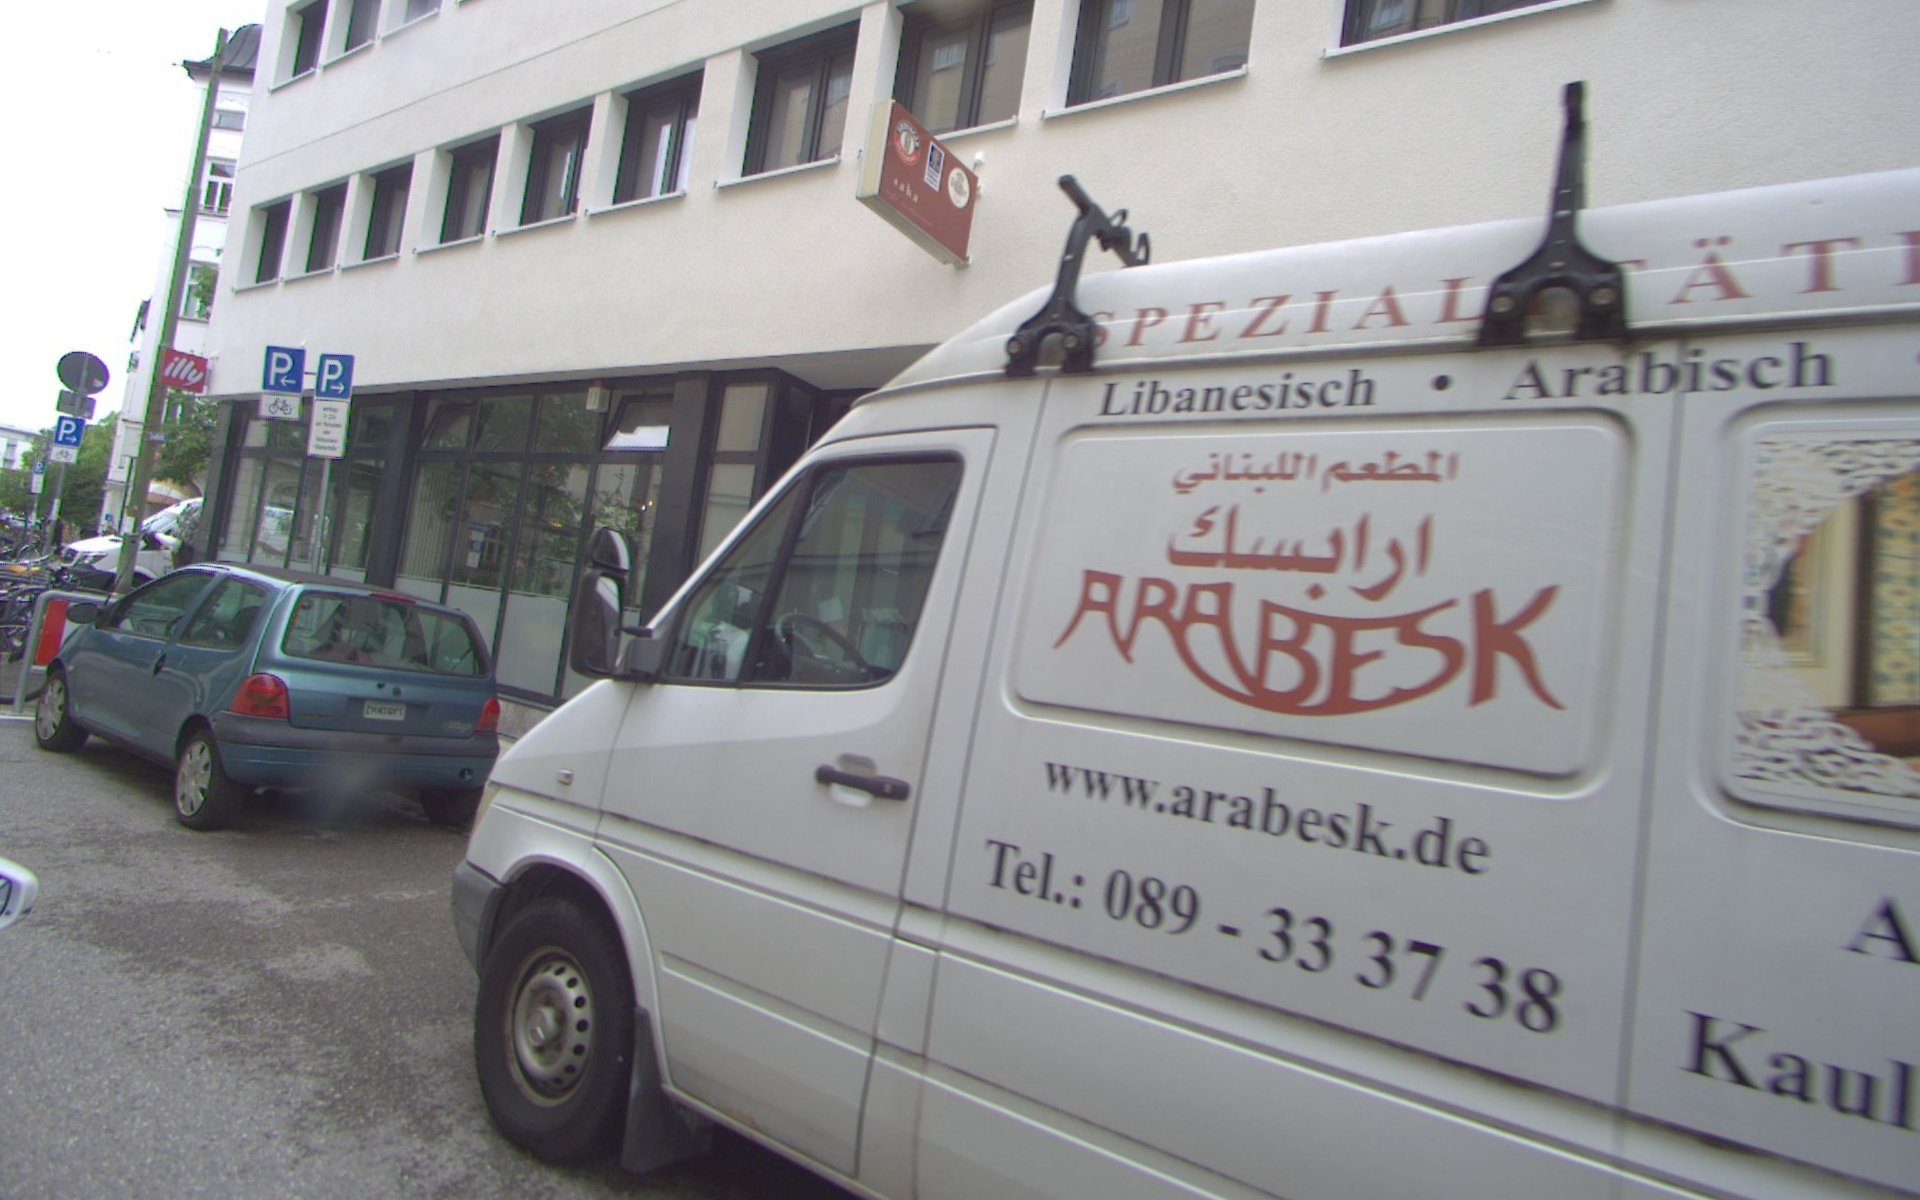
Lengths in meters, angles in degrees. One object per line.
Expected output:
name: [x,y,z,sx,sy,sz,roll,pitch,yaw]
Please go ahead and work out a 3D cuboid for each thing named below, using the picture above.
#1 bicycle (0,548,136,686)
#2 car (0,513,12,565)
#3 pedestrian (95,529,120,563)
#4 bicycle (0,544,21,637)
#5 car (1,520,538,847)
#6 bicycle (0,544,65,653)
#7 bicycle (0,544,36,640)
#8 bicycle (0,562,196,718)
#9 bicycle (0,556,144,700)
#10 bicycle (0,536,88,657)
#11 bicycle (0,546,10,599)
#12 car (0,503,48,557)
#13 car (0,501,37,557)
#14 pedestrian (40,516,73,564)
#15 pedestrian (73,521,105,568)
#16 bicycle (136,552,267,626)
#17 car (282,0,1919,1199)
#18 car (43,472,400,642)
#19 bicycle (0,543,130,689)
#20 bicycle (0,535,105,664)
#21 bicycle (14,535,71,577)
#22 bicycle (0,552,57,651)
bicycle: [-9.212,0.102,9.578,0.556,1.168,1.881,8,-5,33]
car: [-30.600,-2.029,30.840,1.818,1.651,4.240,15,-7,-41]
pedestrian: [-50.285,-3.200,59.358,0.774,1.870,0.852,10,-3,-34]
bicycle: [-12.250,-0.247,11.633,0.401,1.091,1.880,8,-4,31]
car: [-4.659,0.450,6.679,3.494,1.479,1.584,7,-4,34]
bicycle: [-10.784,-0.114,10.577,0.432,1.106,1.880,8,-4,31]
bicycle: [-11.876,-0.214,11.416,0.395,1.091,1.880,8,-4,31]
bicycle: [-7.508,0.300,8.161,0.480,1.090,1.881,8,-6,33]
bicycle: [-8.390,0.185,8.691,0.480,1.119,1.880,8,-5,33]
bicycle: [-10.319,-0.122,10.303,0.556,1.182,1.898,7,-4,32]
bicycle: [-12.539,-0.248,11.979,0.371,1.091,1.618,8,-3,31]
car: [-40.253,-3.011,42.780,1.818,1.941,4.136,14,-7,-41]
car: [-37.170,-2.831,38.869,1.818,1.888,4.240,14,-7,-41]
pedestrian: [-38.285,-2.541,42.639,0.776,1.870,1.011,11,-4,-41]
pedestrian: [-37.214,-2.369,42.986,0.776,1.870,1.011,11,-4,-41]
bicycle: [-15.218,-0.206,20.231,0.583,1.139,1.903,6,-5,39]
car: [0.893,0.481,2.546,5.901,2.531,1.926,7,-5,34]
car: [-16.336,-0.837,22.646,2.030,2.618,5.900,8,-4,39]
bicycle: [-8.783,0.090,9.010,0.480,1.217,1.879,8,-3,33]
bicycle: [-9.821,-0.072,9.940,0.570,1.217,1.878,7,-3,32]
bicycle: [-26.806,-1.277,29.392,1.724,1.011,0.540,7,0,25]
bicycle: [-11.303,-0.091,11.051,0.555,1.062,1.880,5,-5,31]
